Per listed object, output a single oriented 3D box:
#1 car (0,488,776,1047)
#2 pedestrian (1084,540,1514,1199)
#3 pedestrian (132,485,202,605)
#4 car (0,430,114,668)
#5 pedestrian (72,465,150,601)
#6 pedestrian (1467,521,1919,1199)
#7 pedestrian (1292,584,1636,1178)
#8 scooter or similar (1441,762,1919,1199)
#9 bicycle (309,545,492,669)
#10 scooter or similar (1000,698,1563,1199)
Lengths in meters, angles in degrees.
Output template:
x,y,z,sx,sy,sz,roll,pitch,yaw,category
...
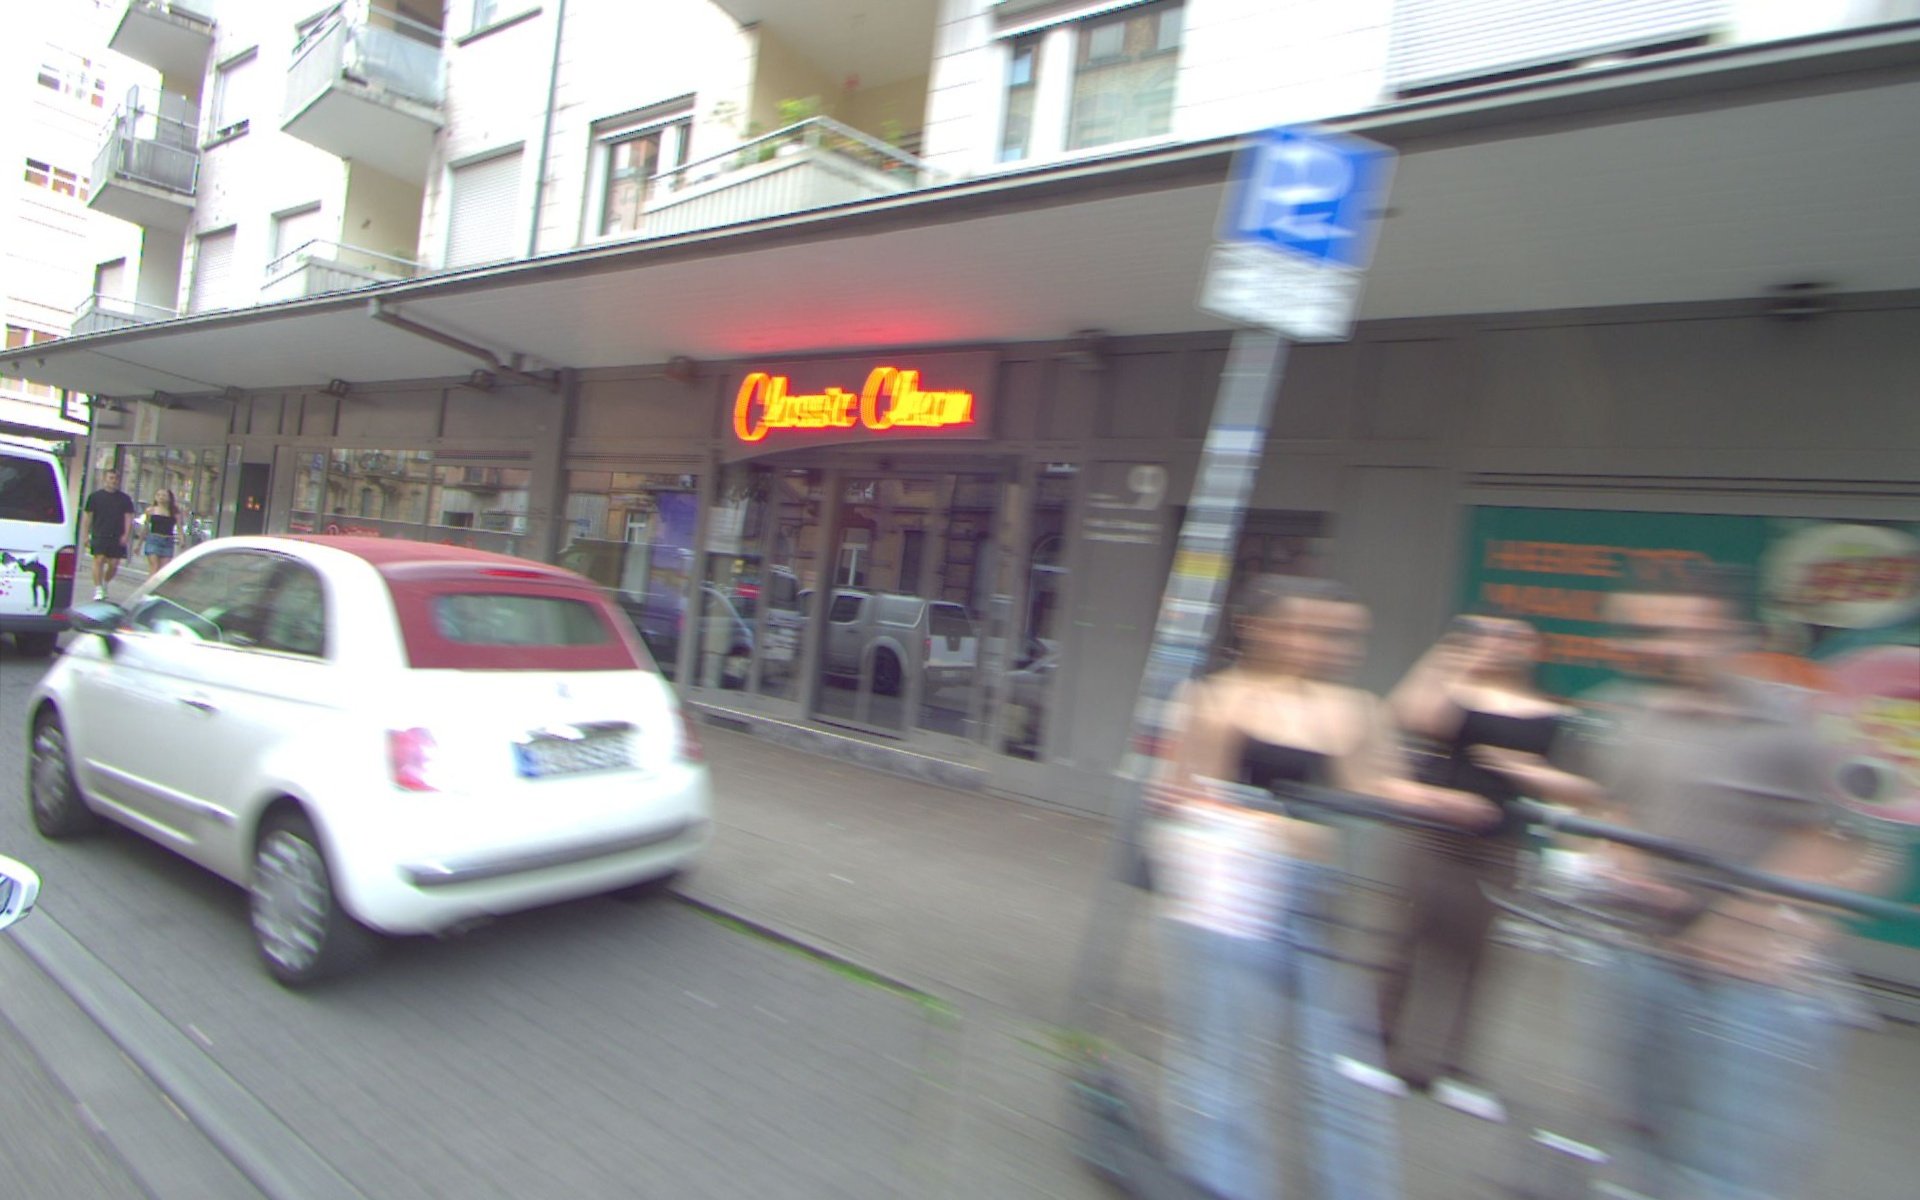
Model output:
x,y,z,sx,sy,sz,roll,pitch,yaw,category
-2.683,0.436,4.509,3.367,1.520,1.593,7,1,33,car
0.730,0.716,2.365,0.581,1.620,0.646,6,1,-6,pedestrian
-11.877,-0.817,15.073,0.705,1.686,0.737,5,1,-39,pedestrian
-10.199,-0.680,9.622,4.923,1.999,1.958,7,1,35,car
-12.379,-0.963,14.698,0.704,1.851,0.852,5,1,-37,pedestrian
1.634,0.772,2.173,0.727,1.778,0.660,7,2,40,pedestrian
1.648,0.823,3.306,0.716,1.653,0.559,8,3,40,pedestrian
1.386,1.035,2.137,0.528,1.186,1.162,9,2,27,scooter or similar
-6.404,0.071,11.532,1.680,1.211,0.912,6,1,21,bicycle
0.594,0.922,2.300,0.529,1.186,1.159,7,2,-16,scooter or similar
